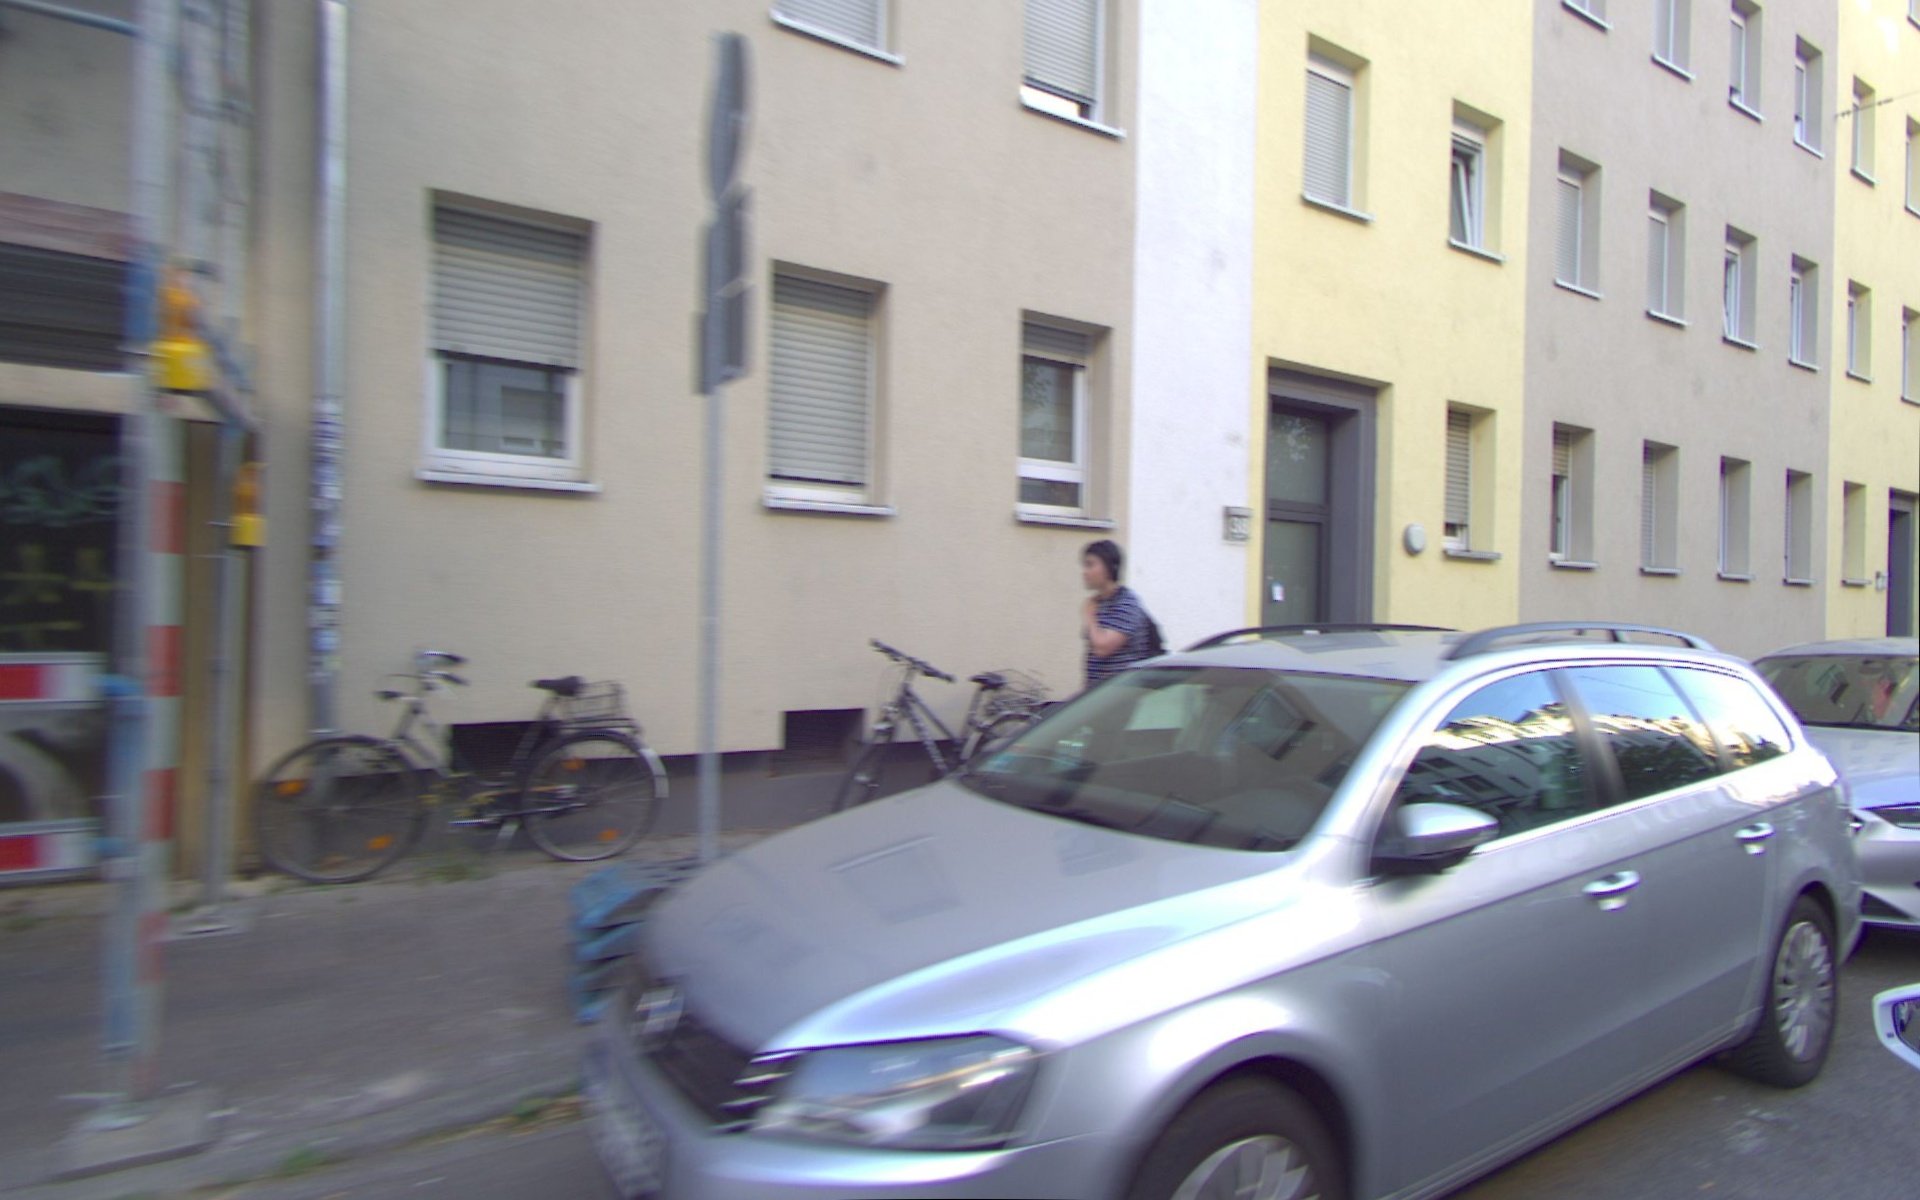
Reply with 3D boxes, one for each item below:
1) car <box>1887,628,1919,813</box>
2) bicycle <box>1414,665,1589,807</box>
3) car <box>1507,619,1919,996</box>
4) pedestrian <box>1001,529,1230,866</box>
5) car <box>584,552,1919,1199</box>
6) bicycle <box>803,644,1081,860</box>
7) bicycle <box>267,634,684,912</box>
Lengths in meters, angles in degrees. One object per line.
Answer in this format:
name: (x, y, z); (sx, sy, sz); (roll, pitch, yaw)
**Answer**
car: (10.047, 1.040, 8.763); (4.371, 1.508, 1.770); (2, -2, -31)
bicycle: (5.062, 1.210, 9.344); (1.904, 1.184, 0.606); (2, -2, -33)
car: (5.420, 0.915, 5.857); (4.565, 1.508, 1.913); (2, -2, -31)
pedestrian: (0.917, 0.539, 5.956); (1.079, 1.784, 0.785); (2, -2, -30)
car: (1.325, 0.779, 3.392); (4.567, 1.508, 1.912); (2, -2, -32)
bicycle: (-0.080, 0.902, 6.360); (1.714, 1.184, 0.474); (2, 3, -33)
bicycle: (-2.357, 0.792, 5.037); (1.797, 1.184, 0.402); (2, 3, -33)
